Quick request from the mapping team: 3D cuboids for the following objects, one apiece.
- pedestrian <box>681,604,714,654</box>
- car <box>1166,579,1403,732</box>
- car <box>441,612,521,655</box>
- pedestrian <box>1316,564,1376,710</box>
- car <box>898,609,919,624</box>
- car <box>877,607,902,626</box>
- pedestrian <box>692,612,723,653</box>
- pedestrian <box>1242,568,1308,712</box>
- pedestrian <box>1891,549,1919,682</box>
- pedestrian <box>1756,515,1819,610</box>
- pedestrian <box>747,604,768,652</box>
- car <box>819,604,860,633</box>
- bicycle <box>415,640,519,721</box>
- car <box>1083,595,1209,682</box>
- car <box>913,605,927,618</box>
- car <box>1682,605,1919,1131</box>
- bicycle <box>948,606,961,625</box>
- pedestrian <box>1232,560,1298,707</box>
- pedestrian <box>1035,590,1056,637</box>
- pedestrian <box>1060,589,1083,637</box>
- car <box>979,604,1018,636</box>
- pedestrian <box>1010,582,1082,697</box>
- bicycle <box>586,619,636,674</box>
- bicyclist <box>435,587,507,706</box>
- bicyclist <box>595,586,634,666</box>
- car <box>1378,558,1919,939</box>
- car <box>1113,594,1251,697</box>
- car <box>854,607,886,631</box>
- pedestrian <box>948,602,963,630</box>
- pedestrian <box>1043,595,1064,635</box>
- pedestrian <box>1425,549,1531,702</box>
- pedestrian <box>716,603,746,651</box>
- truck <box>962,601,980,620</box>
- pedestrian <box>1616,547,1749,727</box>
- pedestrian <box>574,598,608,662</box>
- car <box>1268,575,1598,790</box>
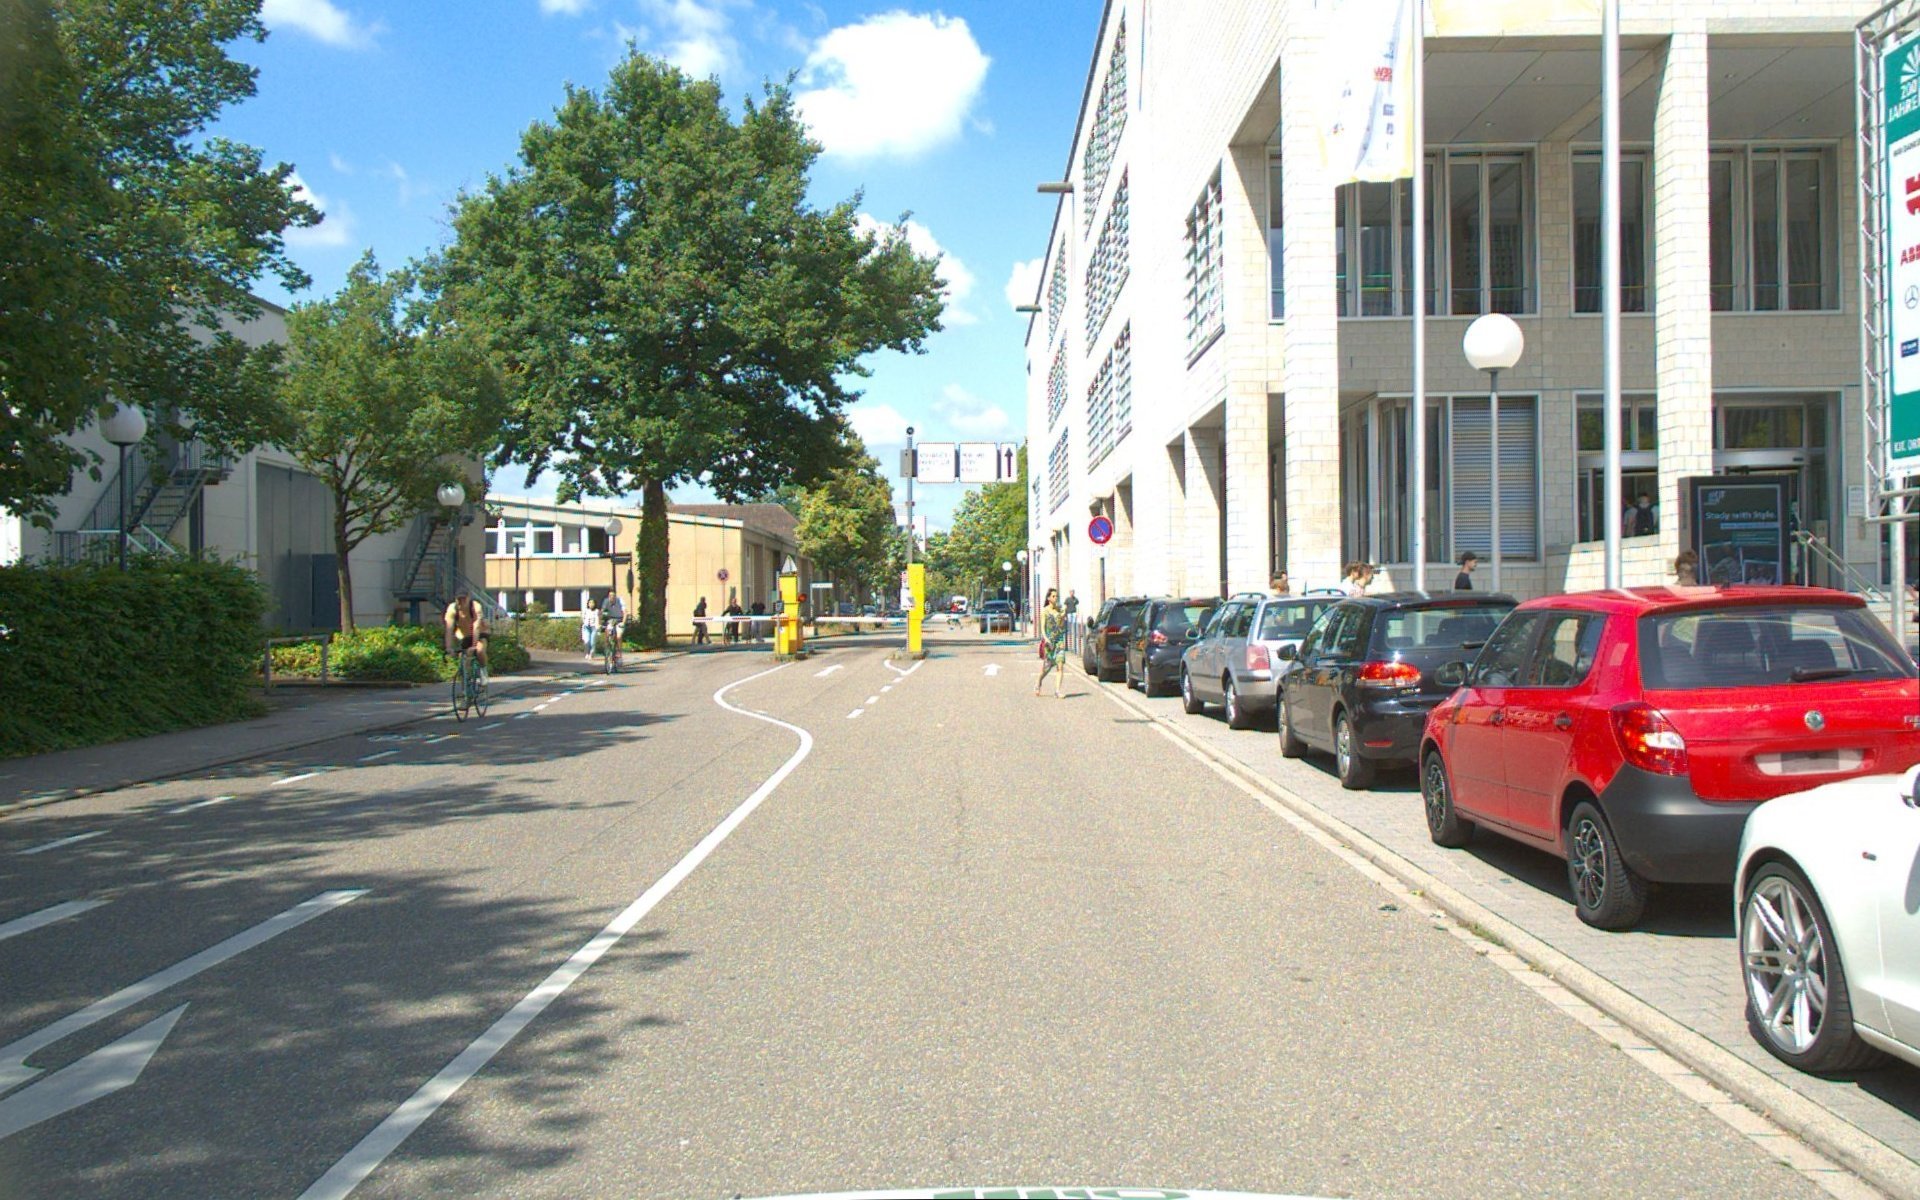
[{"bbox_3d":[-10.373,1.131,65.300,0.867,1.959,1.005,0,-1,24],"label":"pedestrian"},{"bbox_3d":[3.750,0.601,19.919,1.685,1.556,4.563,-2,0,-3],"label":"car"},{"bbox_3d":[-17.659,1.215,61.157,1.792,1.492,4.298,0,0,-1],"label":"car"},{"bbox_3d":[5.269,0.498,22.619,0.708,1.959,0.752,-1,-1,8],"label":"pedestrian"},{"bbox_3d":[-5.290,1.676,169.459,1.952,1.573,4.211,0,0,0],"label":"car"},{"bbox_3d":[-6.039,1.385,142.573,1.952,1.573,4.211,0,0,0],"label":"car"},{"bbox_3d":[-10.129,1.303,66.334,0.867,1.661,0.896,0,-1,24],"label":"pedestrian"},{"bbox_3d":[4.395,0.551,23.068,0.766,1.959,0.734,-1,-1,22],"label":"pedestrian"},{"bbox_3d":[12.260,0.190,20.809,0.684,1.668,0.728,0,-1,-38],"label":"pedestrian"},{"bbox_3d":[14.516,-0.652,29.024,0.703,1.613,0.716,-1,-2,2],"label":"pedestrian"},{"bbox_3d":[-7.930,1.102,64.871,0.691,1.841,1.001,-1,0,-1],"label":"pedestrian"},{"bbox_3d":[-6.708,1.014,92.485,1.952,1.573,4.211,0,0,0],"label":"car"},{"bbox_3d":[-6.672,1.066,22.502,0.777,1.006,2.209,-1,-1,-1],"label":"bicycle"},{"bbox_3d":[3.388,0.684,30.912,1.828,1.490,4.519,0,0,0],"label":"car"},{"bbox_3d":[-5.967,1.724,247.070,1.952,1.751,4.000,-1,-2,2],"label":"car"},{"bbox_3d":[3.475,0.716,3.751,1.683,1.424,4.438,-3,0,0],"label":"car"},{"bbox_3d":[-0.415,1.170,122.482,0.967,1.339,2.963,-1,-2,-1],"label":"bicycle"},{"bbox_3d":[4.139,0.451,22.421,0.767,1.959,0.593,-1,-1,22],"label":"pedestrian"},{"bbox_3d":[3.357,0.516,64.683,0.681,1.812,1.085,-2,0,-2],"label":"pedestrian"},{"bbox_3d":[4.360,0.503,64.654,0.751,1.812,0.910,-2,0,-2],"label":"pedestrian"},{"bbox_3d":[1.954,0.995,85.079,1.952,1.573,4.211,-1,0,0],"label":"car"},{"bbox_3d":[1.336,0.612,25.787,0.617,1.747,1.029,-1,-1,-32],"label":"pedestrian"},{"bbox_3d":[-7.807,1.022,37.110,0.678,1.191,2.209,-1,-1,-1],"label":"bicycle"},{"bbox_3d":[-6.662,0.622,22.563,0.678,1.575,1.018,-1,-1,-1],"label":"bicyclist"},{"bbox_3d":[-7.723,0.573,37.008,0.678,1.767,0.918,-1,-1,-1],"label":"bicyclist"},{"bbox_3d":[3.622,0.606,8.957,1.581,1.522,4.146,-3,0,-1],"label":"car"},{"bbox_3d":[3.470,0.687,26.500,1.581,1.523,4.005,0,0,-1],"label":"car"},{"bbox_3d":[-6.176,1.291,114.436,1.952,1.573,4.211,0,0,0],"label":"car"},{"bbox_3d":[-0.273,0.955,99.871,0.875,1.661,0.887,0,-1,0],"label":"pedestrian"},{"bbox_3d":[3.945,0.624,69.927,0.726,1.661,0.887,-2,0,-2],"label":"pedestrian"},{"bbox_3d":[6.782,0.324,21.709,1.072,1.953,1.021,0,-1,1],"label":"pedestrian"},{"bbox_3d":[-8.984,1.064,64.937,1.034,1.847,0.806,-1,0,-2],"label":"pedestrian"},{"bbox_3d":[1.284,1.246,190.385,1.953,2.049,3.998,-1,-2,-2],"label":"truck"},{"bbox_3d":[7.380,0.369,16.940,0.899,1.770,1.001,-1,-1,0],"label":"pedestrian"},{"bbox_3d":[-9.657,0.773,43.338,0.698,1.655,0.883,0,-1,-2],"label":"pedestrian"},{"bbox_3d":[3.844,0.618,14.148,1.684,1.556,4.000,-1,0,0],"label":"car"}]
